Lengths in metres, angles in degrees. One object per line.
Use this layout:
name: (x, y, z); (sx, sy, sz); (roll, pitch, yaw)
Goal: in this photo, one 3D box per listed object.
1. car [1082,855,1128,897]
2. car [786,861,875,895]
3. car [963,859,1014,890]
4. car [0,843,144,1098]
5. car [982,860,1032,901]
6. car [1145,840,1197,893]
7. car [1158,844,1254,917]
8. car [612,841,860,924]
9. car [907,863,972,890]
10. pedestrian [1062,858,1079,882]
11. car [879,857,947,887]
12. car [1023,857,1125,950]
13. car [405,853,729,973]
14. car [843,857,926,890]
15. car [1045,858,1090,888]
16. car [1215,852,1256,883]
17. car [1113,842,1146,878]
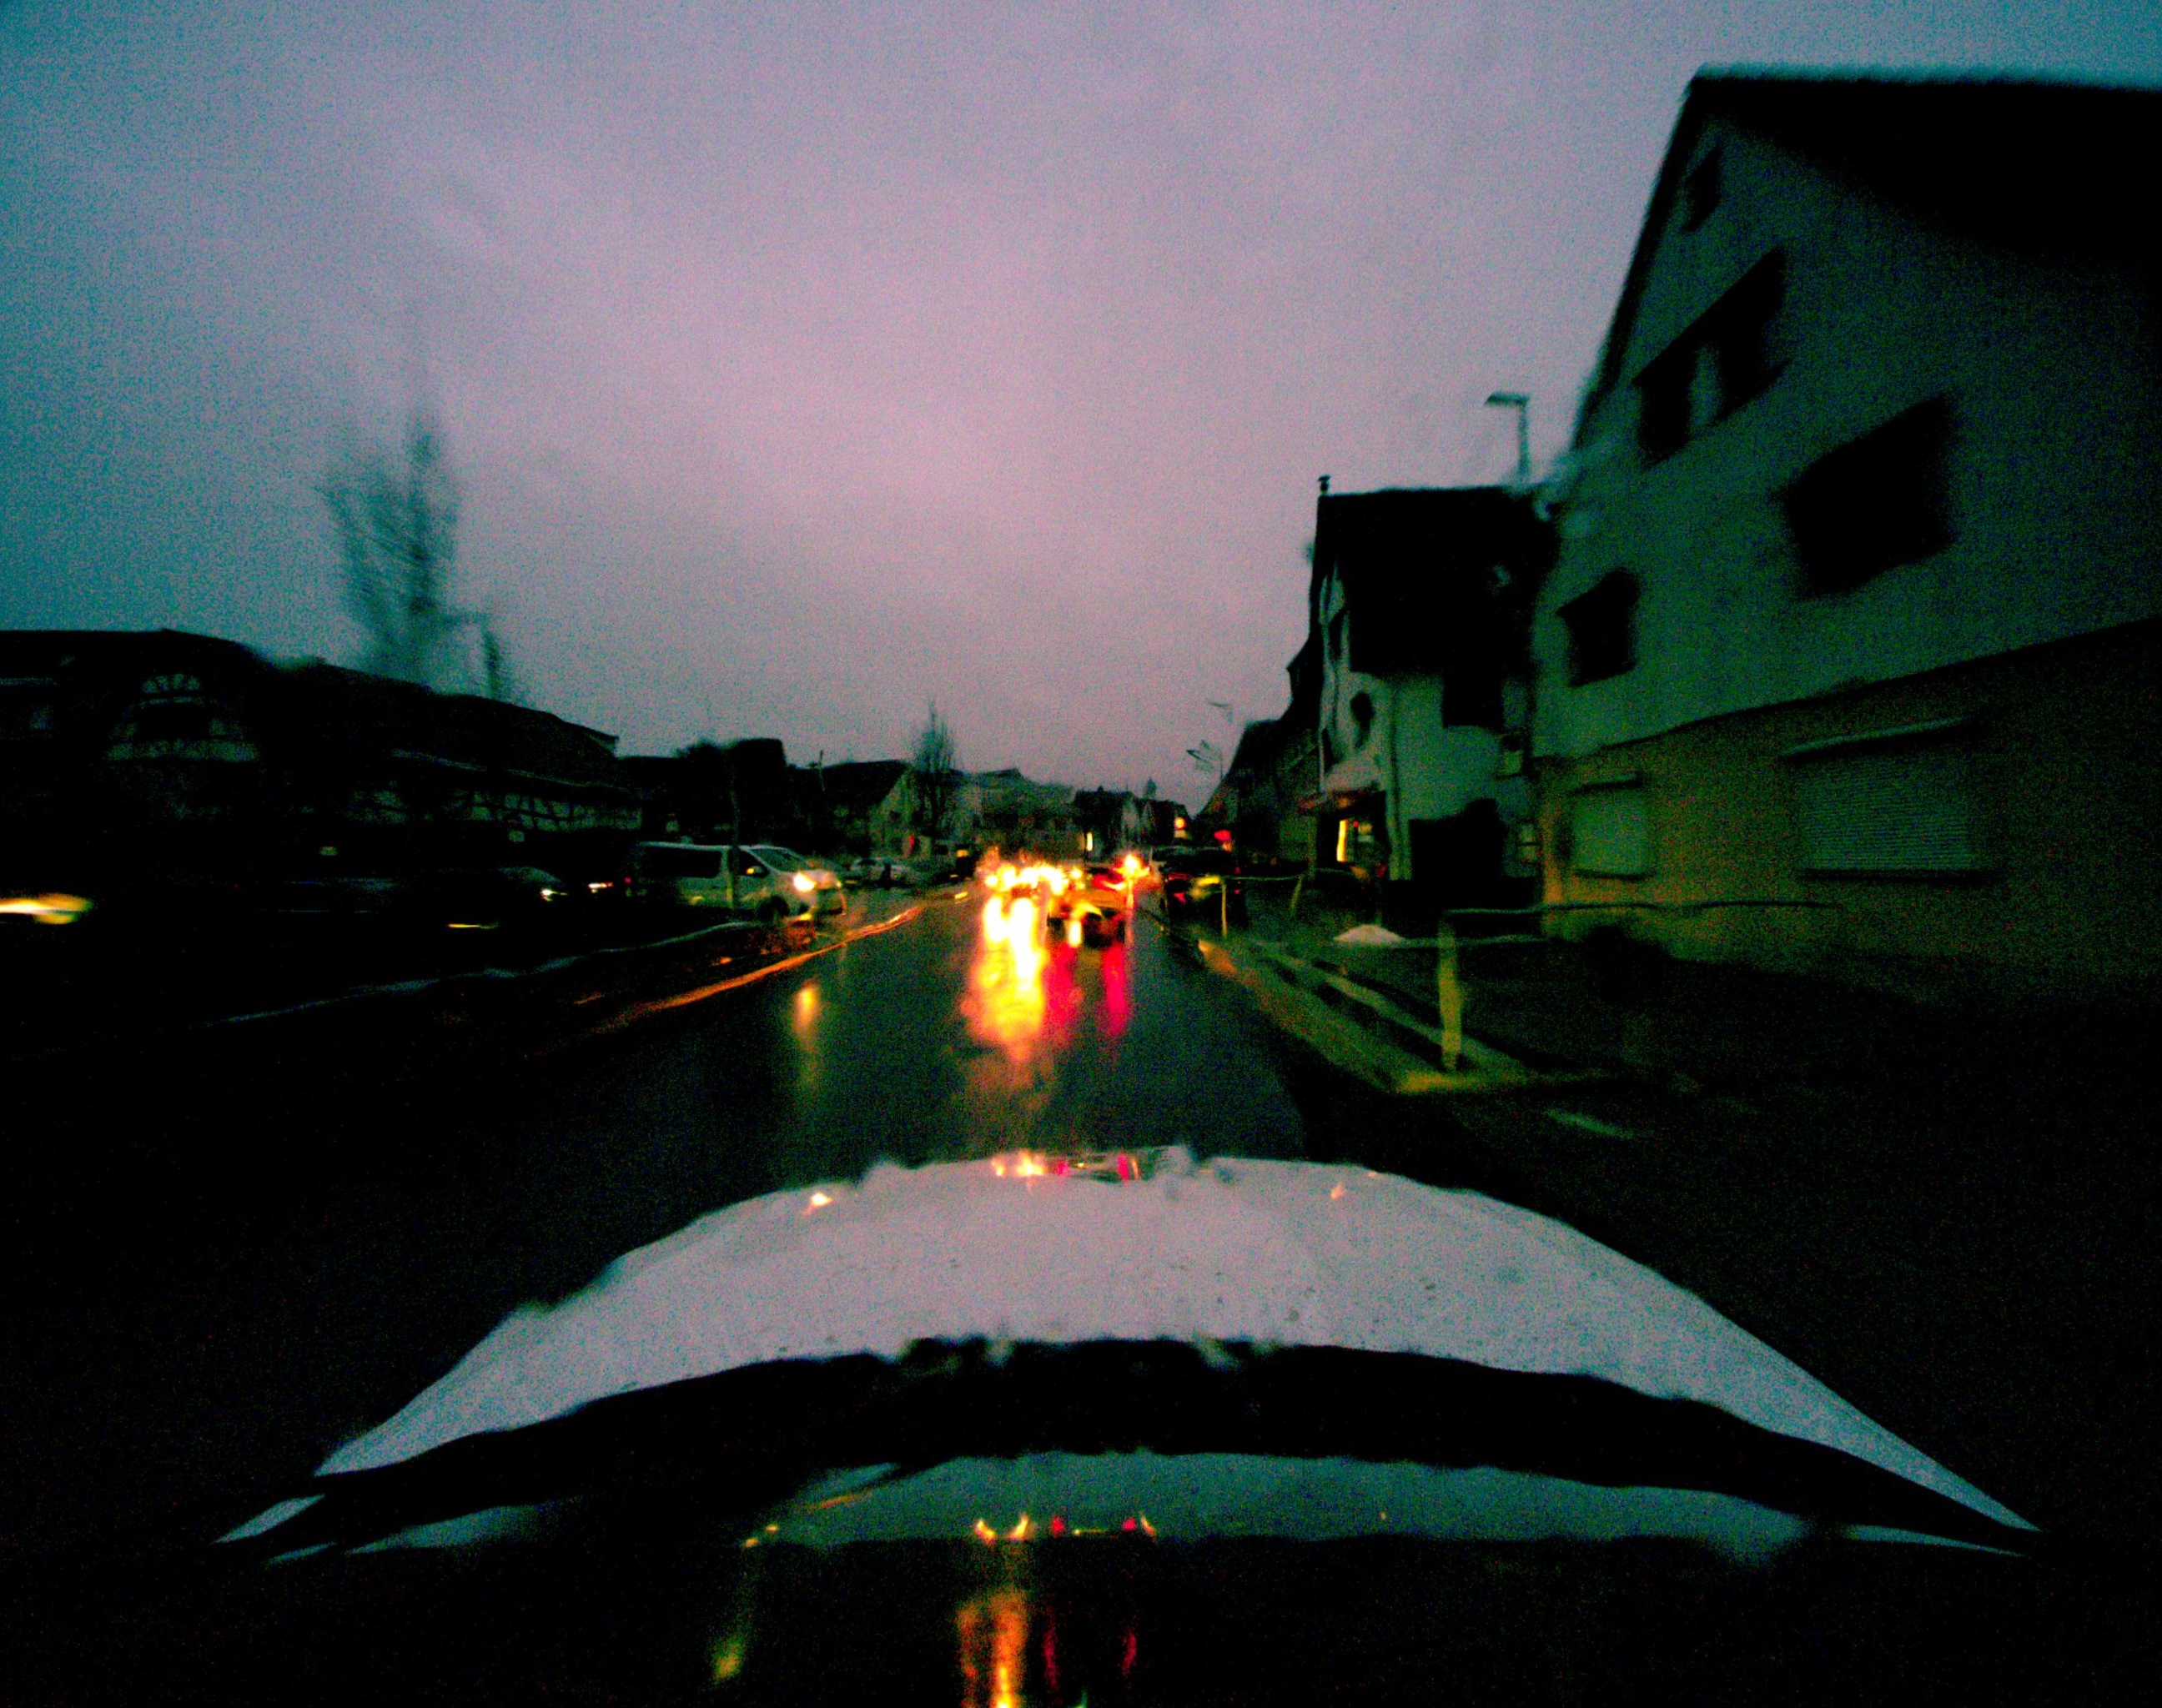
car: (0.960, 0.880, 33.985); (1.792, 1.662, 3.999); (-1, 0, 0)
car: (-11.463, 1.116, 37.226); (4.021, 1.459, 1.769); (-2, -1, 35)
car: (-4.991, 1.061, 44.358); (1.895, 1.533, 4.262); (-1, 0, 5)
car: (-9.597, 0.865, 5.260); (4.845, 1.684, 2.002); (-2, 1, 3)
car: (-2.967, 1.026, 33.360); (1.614, 1.480, 3.839); (-3, 0, 0)
car: (3.712, 0.483, 34.049); (1.964, 1.960, 4.858); (-2, 0, 5)
car: (3.182, 0.639, 21.677); (1.967, 1.661, 4.462); (-2, 0, 2)
car: (-8.717, 0.679, 20.668); (5.718, 1.946, 1.999); (-1, 0, 15)
car: (-8.809, 1.398, 50.507); (3.950, 1.530, 2.012); (-2, 0, 44)
pedestrian: (-0.798, 1.231, 62.596); (0.746, 1.866, 1.067); (-2, -1, 32)
car: (-9.929, 1.052, 48.065); (4.060, 1.582, 1.731); (-4, -2, 40)
car: (-0.094, 1.009, 18.725); (1.986, 1.795, 4.649); (-2, 0, 1)
car: (-8.251, 0.894, 13.378); (3.973, 1.684, 2.000); (-2, 0, 1)
car: (-10.766, 1.072, 44.447); (4.596, 1.654, 2.000); (-3, -2, 40)
car: (-0.738, 1.065, 47.387); (1.815, 1.518, 4.560); (-2, 0, 9)
car: (8.685, 0.739, 46.039); (1.727, 1.561, 3.666); (-3, 0, 3)
car: (3.689, 0.404, 61.282); (2.184, 2.490, 6.152); (-2, 0, 5)
